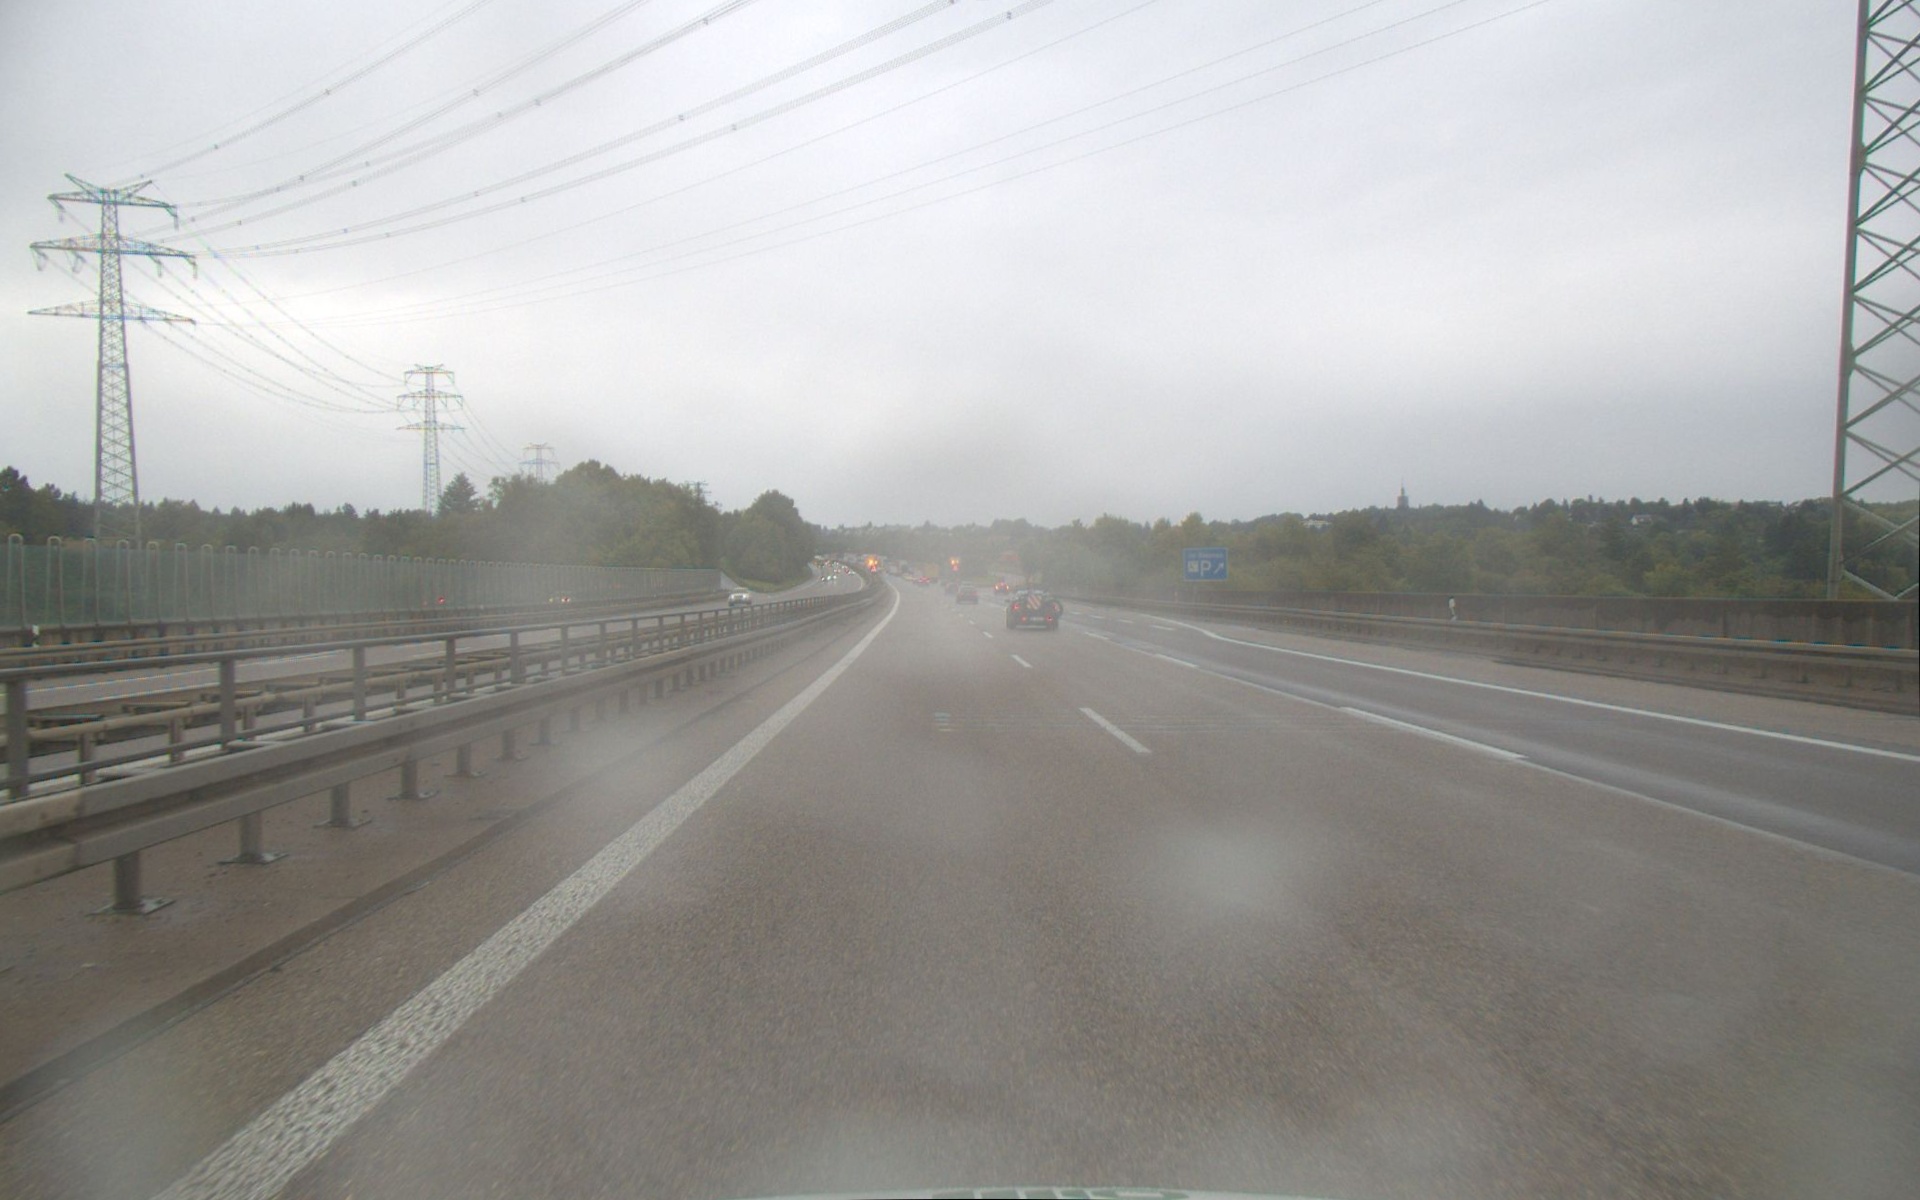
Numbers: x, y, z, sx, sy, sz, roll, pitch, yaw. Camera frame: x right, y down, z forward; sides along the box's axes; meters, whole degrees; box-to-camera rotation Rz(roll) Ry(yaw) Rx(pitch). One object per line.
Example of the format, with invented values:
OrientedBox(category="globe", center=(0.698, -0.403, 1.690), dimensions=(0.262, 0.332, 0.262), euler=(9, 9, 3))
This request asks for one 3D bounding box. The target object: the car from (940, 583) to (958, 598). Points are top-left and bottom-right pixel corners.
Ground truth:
OrientedBox(category="car", center=(-1.308, -1.173, 196.681), dimensions=(1.954, 1.657, 3.997), euler=(-1, 1, -4))

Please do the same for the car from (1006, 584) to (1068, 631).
OrientedBox(category="car", center=(2.853, 0.262, 62.335), dimensions=(2.016, 1.700, 5.521), euler=(0, 0, -1))

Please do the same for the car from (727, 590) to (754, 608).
OrientedBox(category="car", center=(-20.318, -0.097, 153.324), dimensions=(1.953, 1.658, 4.712), euler=(-1, 0, -2))

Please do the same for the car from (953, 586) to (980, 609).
OrientedBox(category="car", center=(0.508, -0.214, 139.336), dimensions=(1.954, 1.791, 3.997), euler=(-1, 1, -4))

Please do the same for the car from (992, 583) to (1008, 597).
OrientedBox(category="car", center=(5.075, -1.259, 207.225), dimensions=(1.882, 1.739, 4.002), euler=(-1, 1, 3))
